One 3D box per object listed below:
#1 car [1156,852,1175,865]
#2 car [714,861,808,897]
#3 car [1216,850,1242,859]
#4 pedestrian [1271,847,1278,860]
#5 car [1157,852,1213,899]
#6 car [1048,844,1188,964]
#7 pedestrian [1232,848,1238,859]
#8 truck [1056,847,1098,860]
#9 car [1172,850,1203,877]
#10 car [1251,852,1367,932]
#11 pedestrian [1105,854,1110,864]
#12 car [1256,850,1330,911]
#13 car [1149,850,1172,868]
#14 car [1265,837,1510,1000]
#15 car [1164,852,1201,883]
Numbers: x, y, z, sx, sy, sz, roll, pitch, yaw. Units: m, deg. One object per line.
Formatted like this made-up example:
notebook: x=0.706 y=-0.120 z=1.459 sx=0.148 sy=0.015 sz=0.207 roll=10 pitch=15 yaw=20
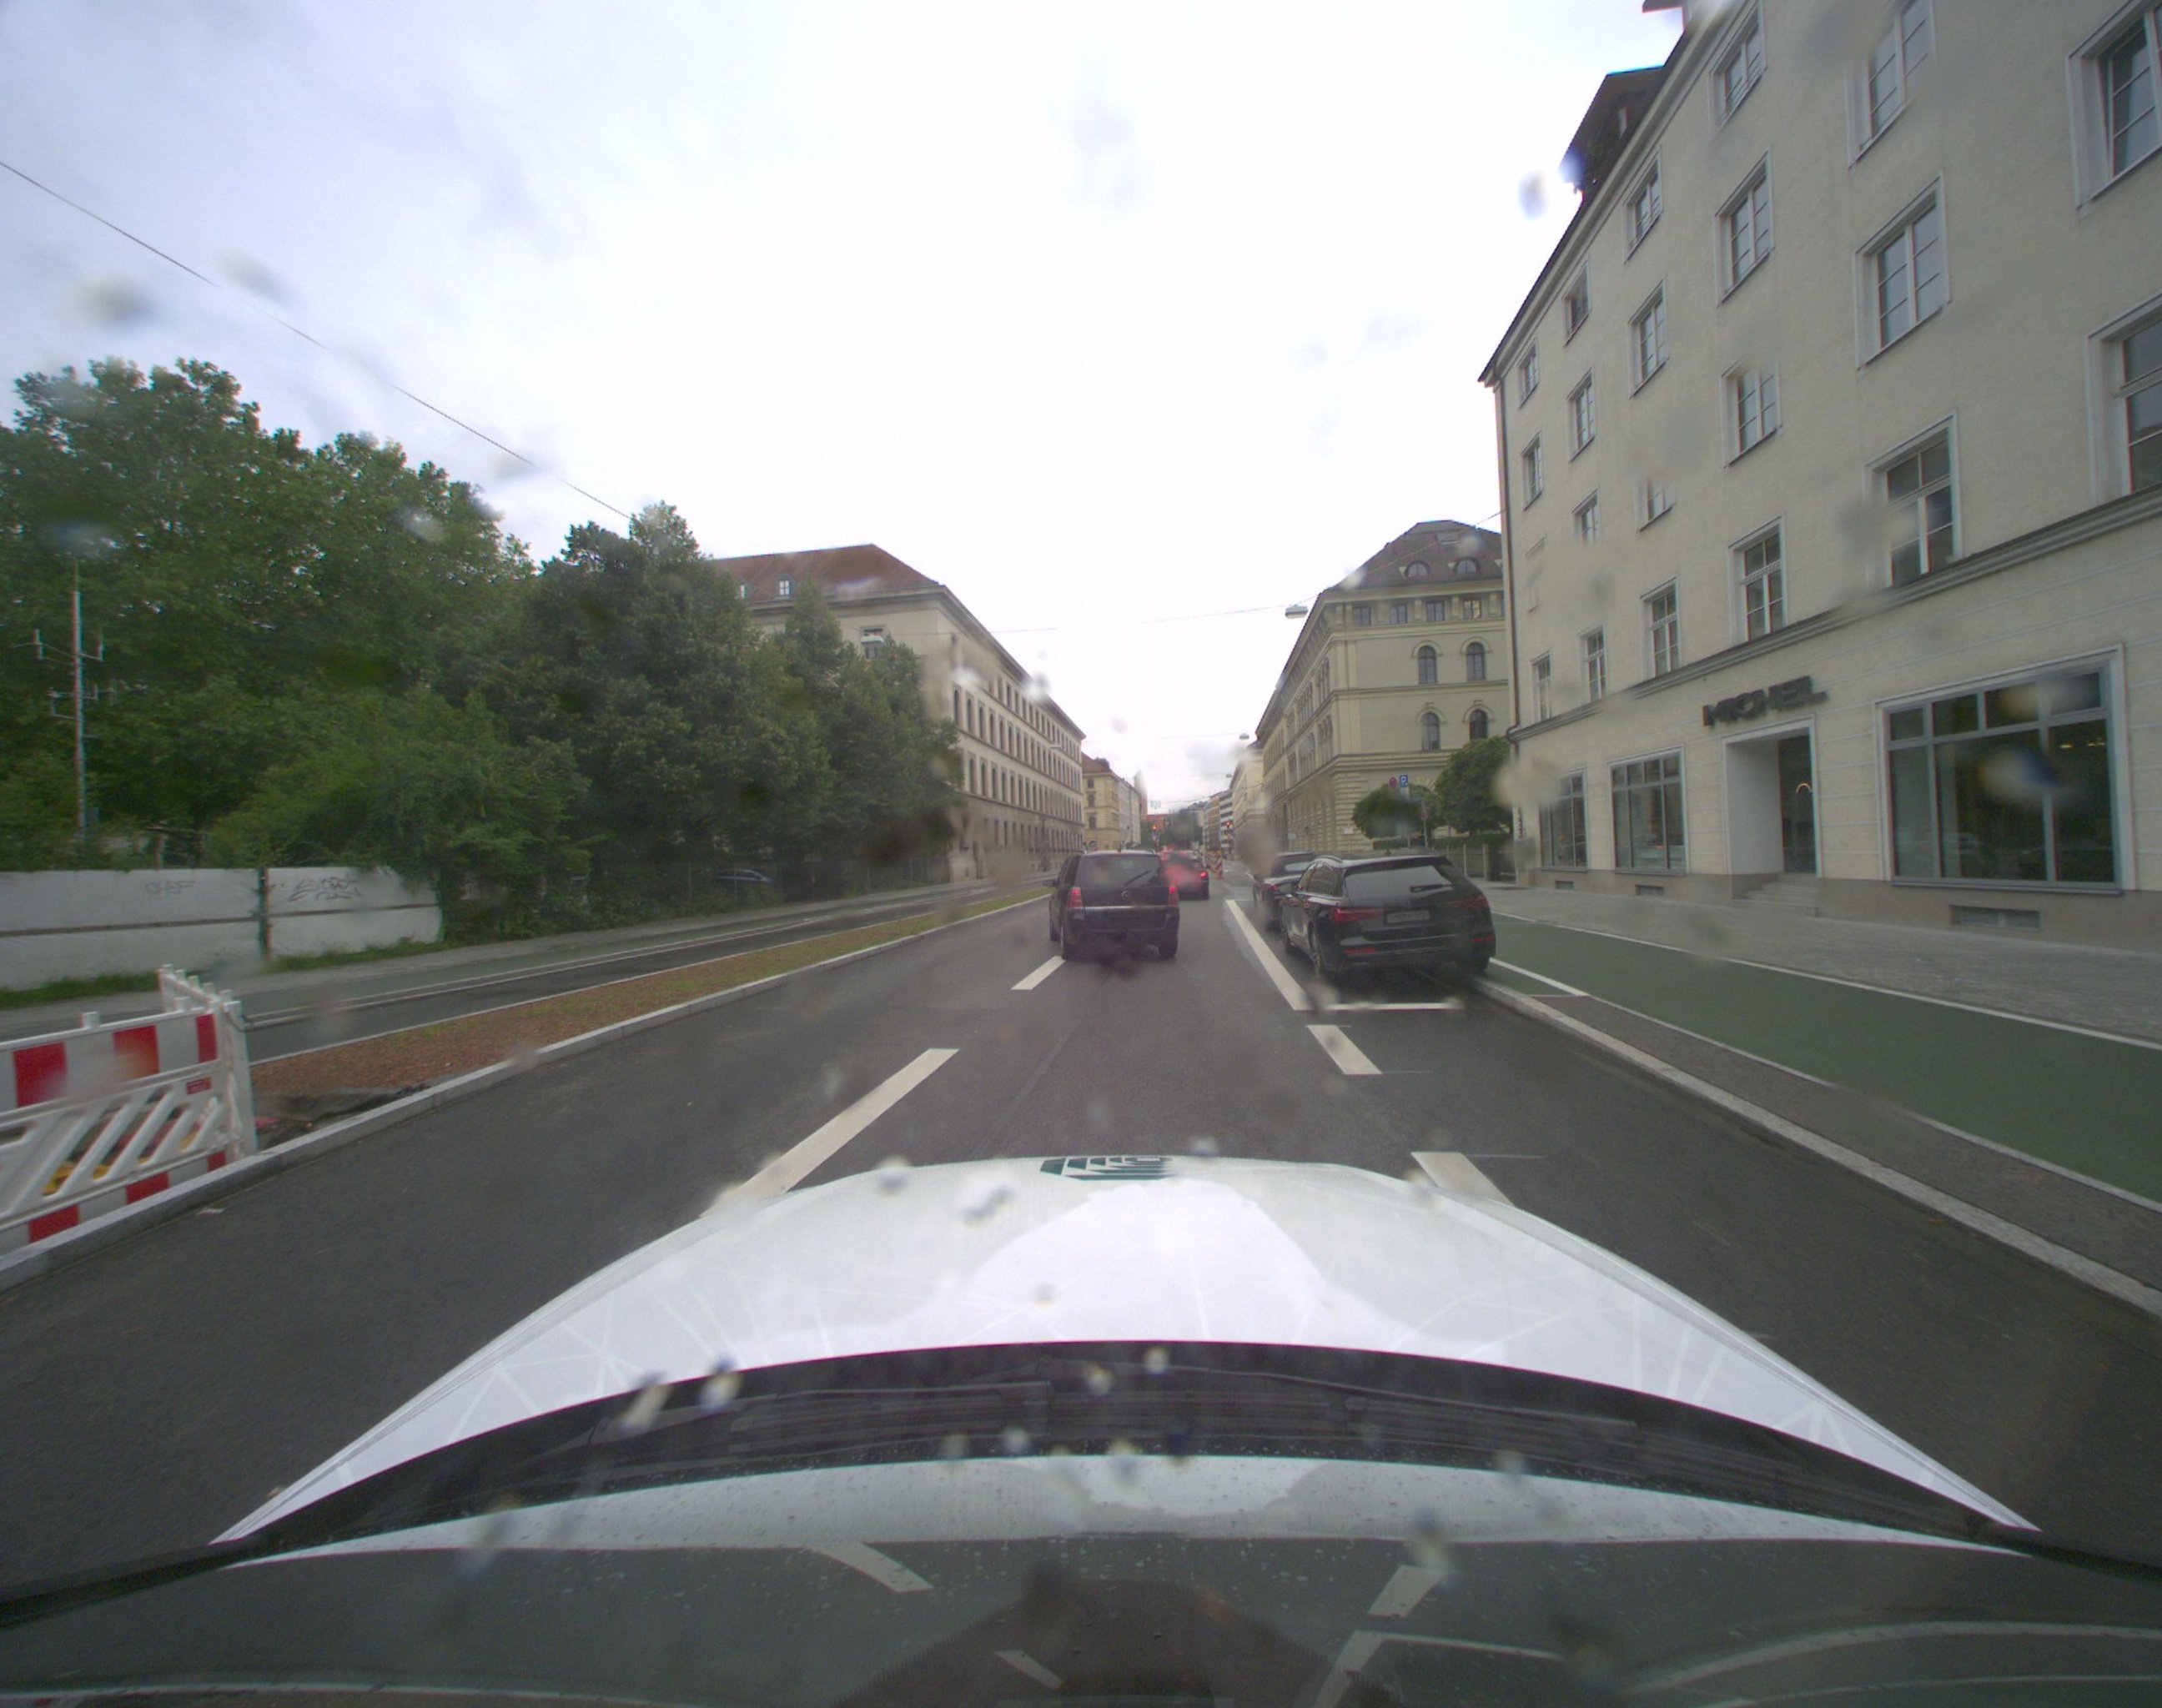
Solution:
car: x=10.044 y=0.481 z=96.316 sx=1.982 sy=1.444 sz=4.010 roll=-2 pitch=0 yaw=9
car: x=-16.933 y=1.309 z=43.184 sx=4.238 sy=1.649 sz=1.809 roll=-3 pitch=0 yaw=8
car: x=23.913 y=0.084 z=131.786 sx=3.823 sy=1.222 sz=1.978 roll=-2 pitch=0 yaw=-35
pedestrian: x=23.210 y=-0.059 z=97.875 sx=0.706 sy=1.618 sz=0.756 roll=-2 pitch=0 yaw=7
car: x=3.528 y=0.666 z=27.396 sx=1.720 sy=1.403 sz=4.009 roll=-1 pitch=0 yaw=8
car: x=0.441 y=0.683 z=13.307 sx=1.762 sy=1.616 sz=4.023 roll=-1 pitch=0 yaw=-5
pedestrian: x=23.664 y=-0.047 z=125.213 sx=0.746 sy=1.618 sz=0.715 roll=-2 pitch=0 yaw=16
truck: x=-0.751 y=-0.129 z=146.842 sx=7.340 sy=2.252 sz=2.186 roll=-1 pitch=0 yaw=10
car: x=6.184 y=0.499 z=47.091 sx=1.720 sy=1.461 sz=4.009 roll=-1 pitch=0 yaw=8
car: x=4.591 y=0.681 z=17.023 sx=1.815 sy=1.407 sz=4.732 roll=-1 pitch=0 yaw=9
pedestrian: x=4.975 y=0.965 z=152.315 sx=0.652 sy=1.805 sz=0.729 roll=-2 pitch=0 yaw=7
car: x=5.855 y=0.681 z=22.847 sx=1.665 sy=1.521 sz=3.839 roll=-1 pitch=0 yaw=9
car: x=7.884 y=0.501 z=80.820 sx=1.982 sy=1.627 sz=4.010 roll=-2 pitch=0 yaw=9
car: x=3.587 y=0.651 z=10.462 sx=1.799 sy=1.480 sz=4.470 roll=-6 pitch=0 yaw=7
car: x=5.070 y=0.622 z=40.310 sx=1.720 sy=1.403 sz=4.009 roll=-1 pitch=0 yaw=8
